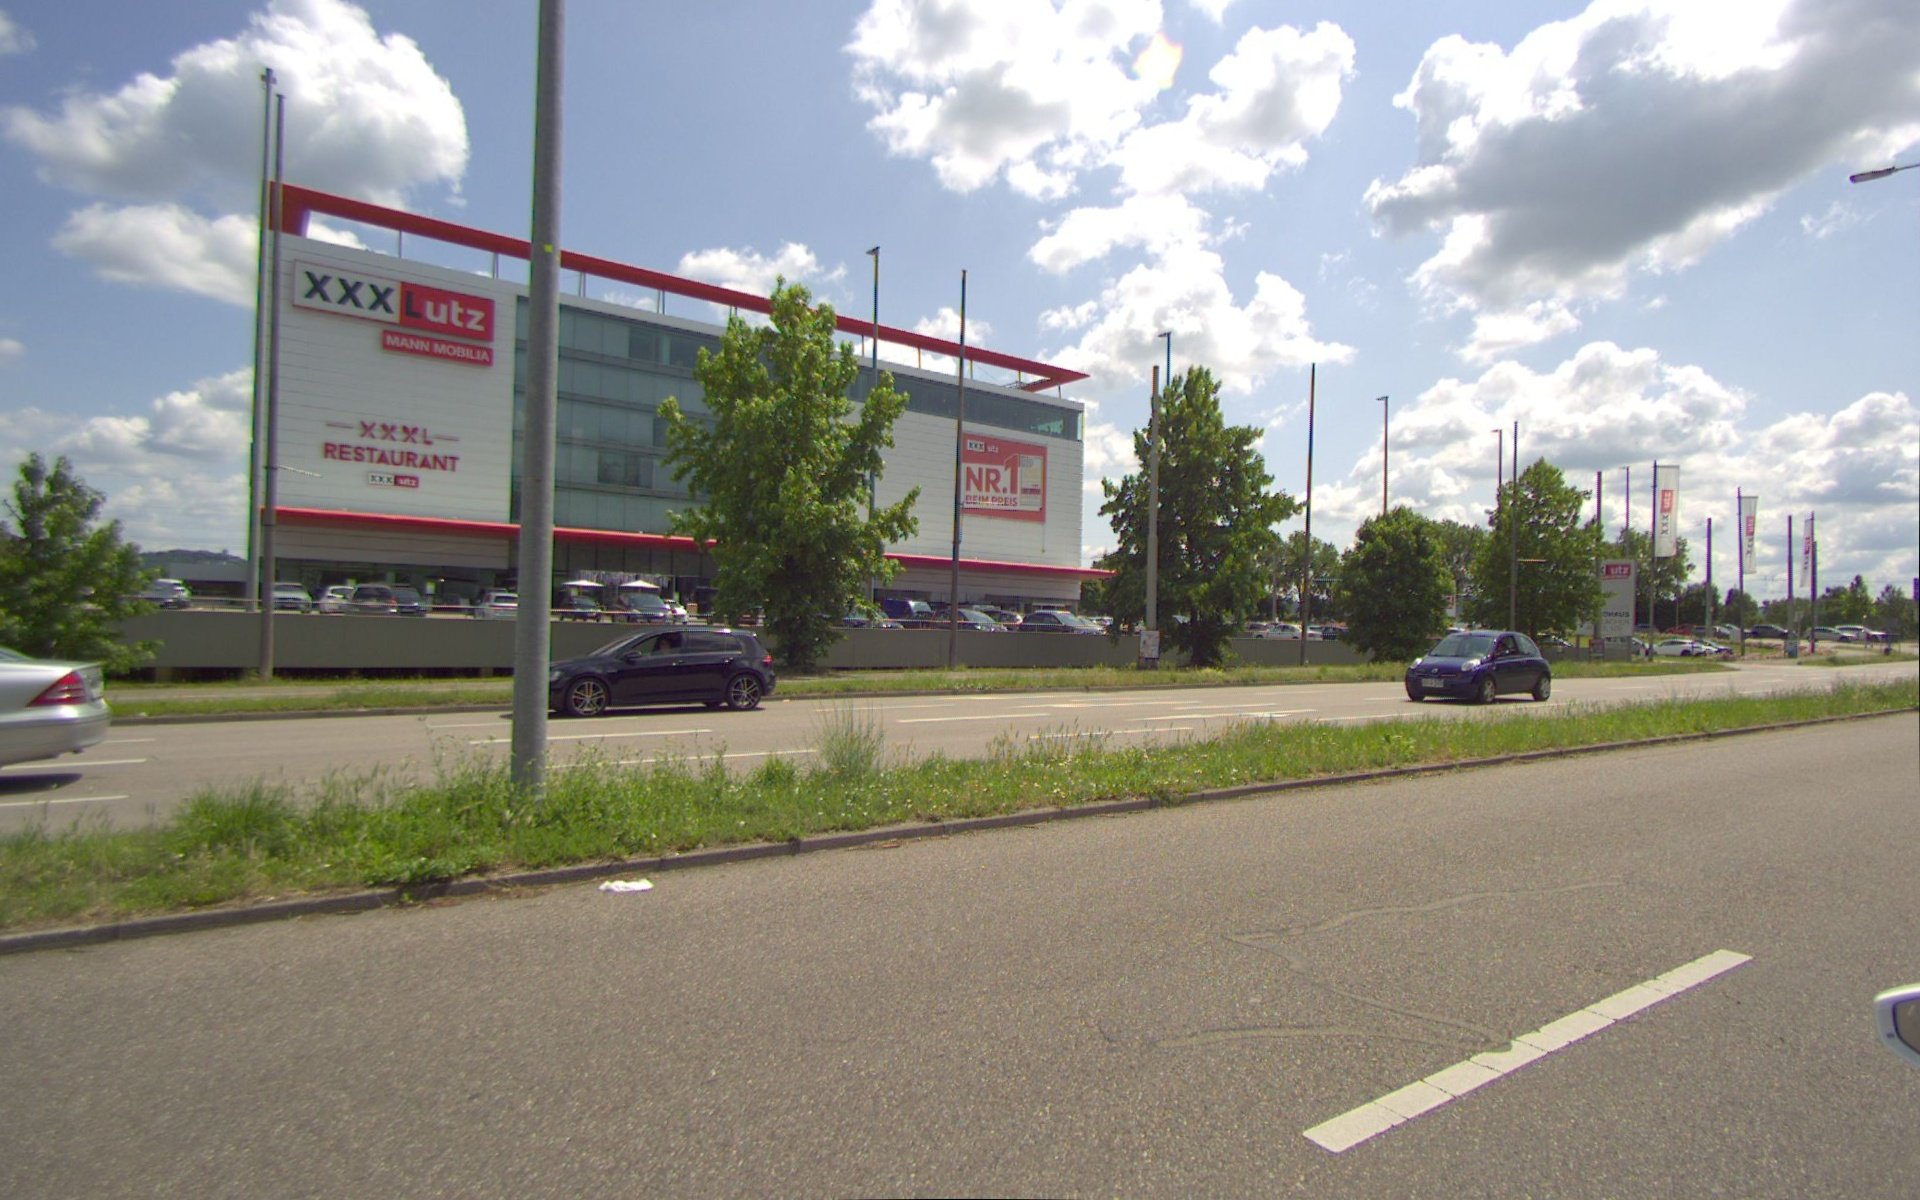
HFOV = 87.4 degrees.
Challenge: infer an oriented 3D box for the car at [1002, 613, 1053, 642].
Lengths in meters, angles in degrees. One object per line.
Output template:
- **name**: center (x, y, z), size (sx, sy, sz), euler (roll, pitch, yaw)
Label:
- **car**: center (5.698, 2.325, 84.980), size (1.852, 2.337, 4.524), euler (2, -2, -36)

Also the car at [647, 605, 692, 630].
- **car**: center (-18.126, 1.119, 62.594), size (1.663, 1.489, 3.797), euler (1, -2, -34)

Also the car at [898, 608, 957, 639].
- **car**: center (-2.246, 1.628, 69.086), size (1.981, 2.015, 4.318), euler (2, -2, -36)

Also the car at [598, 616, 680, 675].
- **car**: center (-13.575, 1.863, 42.321), size (1.981, 2.359, 4.318), euler (2, -2, -36)

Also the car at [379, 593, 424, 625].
- **car**: center (-27.915, 0.470, 50.132), size (1.835, 1.489, 3.802), euler (1, -2, -31)

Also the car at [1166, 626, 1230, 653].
- **car**: center (16.914, 2.806, 71.536), size (1.761, 1.855, 4.318), euler (2, -2, -36)

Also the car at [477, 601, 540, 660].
- **car**: center (-19.424, 1.302, 43.111), size (1.977, 2.359, 4.327), euler (1, -2, -31)

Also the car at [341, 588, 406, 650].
- **car**: center (-23.726, 0.780, 40.577), size (1.979, 2.359, 4.323), euler (1, -2, -34)

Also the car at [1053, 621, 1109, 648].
- **car**: center (9.349, 2.669, 78.109), size (1.980, 2.015, 4.320), euler (1, -2, -35)

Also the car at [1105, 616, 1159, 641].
- **car**: center (14.318, 2.388, 83.974), size (1.981, 2.015, 4.318), euler (1, -2, -36)

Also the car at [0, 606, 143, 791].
- **car**: center (-9.282, 0.781, 7.620), size (4.628, 1.436, 1.780), euler (1, -3, -35)

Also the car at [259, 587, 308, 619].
- **car**: center (-34.434, 0.177, 51.210), size (1.834, 1.489, 3.803), euler (1, -2, -30)

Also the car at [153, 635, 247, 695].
- **car**: center (-22.231, 1.847, 29.528), size (1.898, 1.617, 3.964), euler (1, -2, -33)

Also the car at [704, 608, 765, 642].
- **car**: center (-13.568, 1.505, 60.267), size (1.981, 2.015, 4.318), euler (2, -2, -36)

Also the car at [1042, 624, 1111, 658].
- **car**: center (7.345, 2.572, 63.840), size (1.981, 2.077, 4.318), euler (2, -2, -36)

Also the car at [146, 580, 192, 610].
- **car**: center (-44.667, -0.256, 56.771), size (1.838, 1.564, 3.795), euler (1, -2, -36)

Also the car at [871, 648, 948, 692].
- **car**: center (-2.553, 3.440, 50.114), size (1.981, 2.040, 3.959), euler (1, -2, -36)

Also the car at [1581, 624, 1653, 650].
- **car**: center (51.452, 2.872, 78.684), size (1.981, 2.015, 4.318), euler (2, -2, -36)

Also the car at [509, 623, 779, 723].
- **car**: center (-5.252, 1.148, 16.886), size (4.072, 1.489, 1.610), euler (1, -2, -33)

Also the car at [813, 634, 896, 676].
- **car**: center (-4.386, 2.206, 41.313), size (1.826, 1.617, 3.964), euler (1, -2, -33)

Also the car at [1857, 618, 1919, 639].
- **car**: center (89.044, 2.721, 96.302), size (1.981, 2.015, 4.318), euler (2, -2, -36)

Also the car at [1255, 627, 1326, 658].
- **car**: center (22.519, 2.871, 68.524), size (1.981, 2.015, 4.318), euler (2, -2, -36)

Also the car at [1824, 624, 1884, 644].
- **car**: center (91.982, 3.467, 103.349), size (1.981, 2.015, 4.318), euler (2, -2, -36)

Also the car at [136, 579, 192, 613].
- **car**: center (-38.305, -0.159, 48.415), size (1.572, 1.489, 3.803), euler (1, -2, -30)

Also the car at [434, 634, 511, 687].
- **car**: center (-16.412, 1.974, 33.710), size (1.830, 1.617, 3.964), euler (1, -2, -33)

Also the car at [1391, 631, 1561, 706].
- **car**: center (11.184, 1.424, 21.723), size (3.638, 1.494, 1.728), euler (1, -2, -34)

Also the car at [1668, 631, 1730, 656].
- **car**: center (61.646, 3.620, 83.845), size (3.945, 2.040, 1.988), euler (-1, -2, 44)

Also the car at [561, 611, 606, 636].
- **car**: center (-22.497, 1.409, 59.986), size (1.663, 1.489, 3.797), euler (1, -2, -34)

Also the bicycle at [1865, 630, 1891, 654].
- **bicycle**: center (66.764, 3.028, 73.021), size (2.029, 1.697, 1.010), euler (1, -2, -36)

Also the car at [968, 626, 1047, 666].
- **car**: center (2.516, 2.401, 54.001), size (1.981, 2.015, 4.318), euler (0, -1, -37)

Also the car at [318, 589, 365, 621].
- **car**: center (-30.134, 0.281, 48.906), size (1.836, 1.489, 3.798), euler (1, -2, -33)

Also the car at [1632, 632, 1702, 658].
- **car**: center (57.736, 3.665, 82.045), size (1.981, 2.015, 4.318), euler (2, -2, -36)

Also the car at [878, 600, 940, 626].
- **car**: center (-3.831, 0.997, 75.078), size (2.179, 1.802, 5.080), euler (1, -2, -37)

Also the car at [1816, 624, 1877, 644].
- **car**: center (89.568, 3.424, 101.535), size (1.981, 2.015, 4.318), euler (2, -2, -36)

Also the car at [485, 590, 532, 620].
- **car**: center (-23.944, 0.318, 53.242), size (1.663, 1.489, 3.797), euler (1, -2, -34)
